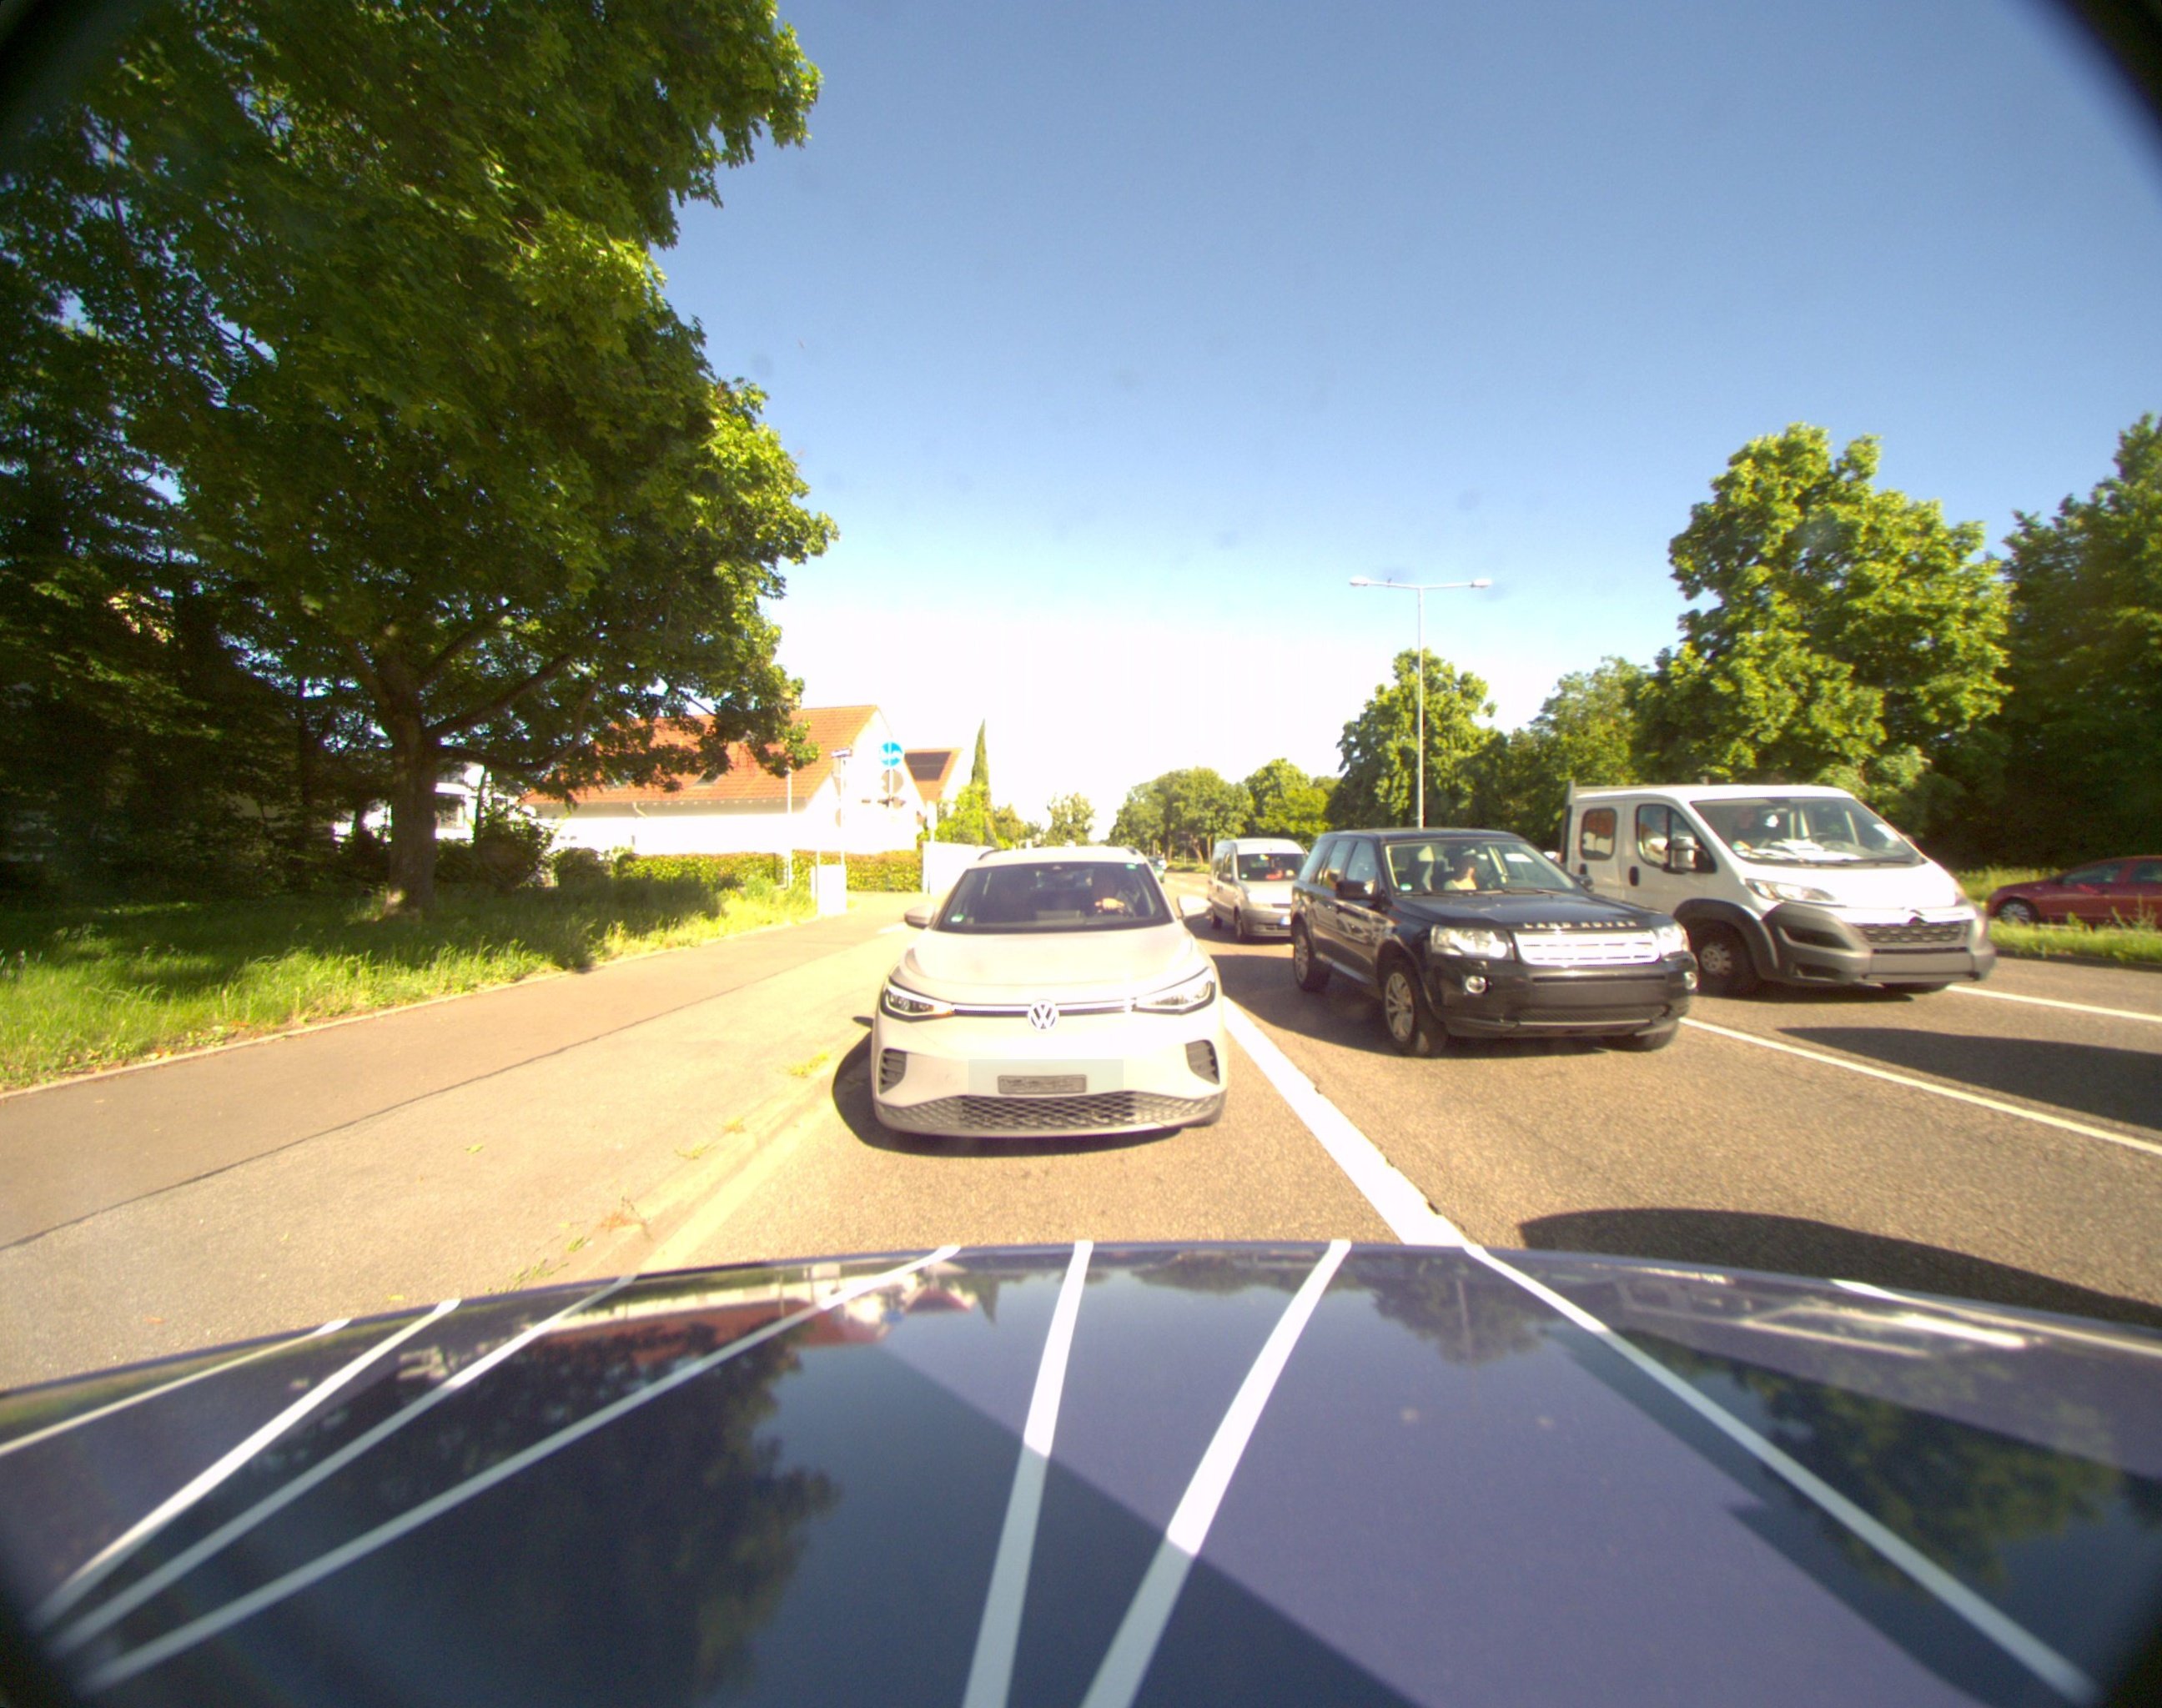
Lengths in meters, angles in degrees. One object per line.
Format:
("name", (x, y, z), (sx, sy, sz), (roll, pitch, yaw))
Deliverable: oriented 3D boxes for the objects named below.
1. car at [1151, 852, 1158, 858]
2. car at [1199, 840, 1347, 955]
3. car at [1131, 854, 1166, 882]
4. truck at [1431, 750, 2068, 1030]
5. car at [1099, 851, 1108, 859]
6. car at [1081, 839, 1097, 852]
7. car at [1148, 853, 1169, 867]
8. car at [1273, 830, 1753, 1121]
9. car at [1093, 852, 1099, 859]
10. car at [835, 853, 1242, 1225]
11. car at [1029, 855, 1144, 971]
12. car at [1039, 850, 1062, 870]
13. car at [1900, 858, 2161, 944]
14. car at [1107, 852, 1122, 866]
("car", (21.558, 0.323, 223.259), (1.878, 1.674, 4.000), (0, 0, 1))
("car", (3.327, 0.650, 13.978), (1.632, 1.741, 4.386), (-2, 1, 1))
("car", (3.734, 0.759, 42.721), (1.630, 1.466, 3.931), (-1, 0, 0))
("truck", (7.214, 0.266, 9.816), (2.185, 2.307, 6.842), (-2, 1, 0))
("car", (4.677, 0.165, 157.743), (1.726, 1.630, 4.000), (0, 0, 1))
("car", (0.935, -0.908, 84.828), (1.726, 1.392, 4.000), (0, 0, 1))
("car", (8.003, 0.640, 78.573), (1.727, 1.436, 3.999), (0, 0, -2))
("car", (3.167, 0.712, 6.783), (1.816, 1.721, 4.386), (-2, 1, 1))
("car", (4.028, 0.395, 202.397), (1.726, 1.630, 4.000), (0, 0, 1))
("car", (-0.168, 0.846, 5.588), (1.858, 1.679, 4.206), (0, 1, 1))
("car", (0.111, 0.862, 13.031), (1.632, 1.586, 4.024), (-2, 1, 1))
("car", (-2.449, 0.491, 61.074), (1.630, 1.523, 3.931), (-1, 0, 0))
("car", (19.675, 0.842, 15.482), (1.690, 1.500, 4.003), (0, 0, 1))
("car", (4.021, 0.574, 92.182), (1.726, 1.630, 4.000), (0, 0, 1))
